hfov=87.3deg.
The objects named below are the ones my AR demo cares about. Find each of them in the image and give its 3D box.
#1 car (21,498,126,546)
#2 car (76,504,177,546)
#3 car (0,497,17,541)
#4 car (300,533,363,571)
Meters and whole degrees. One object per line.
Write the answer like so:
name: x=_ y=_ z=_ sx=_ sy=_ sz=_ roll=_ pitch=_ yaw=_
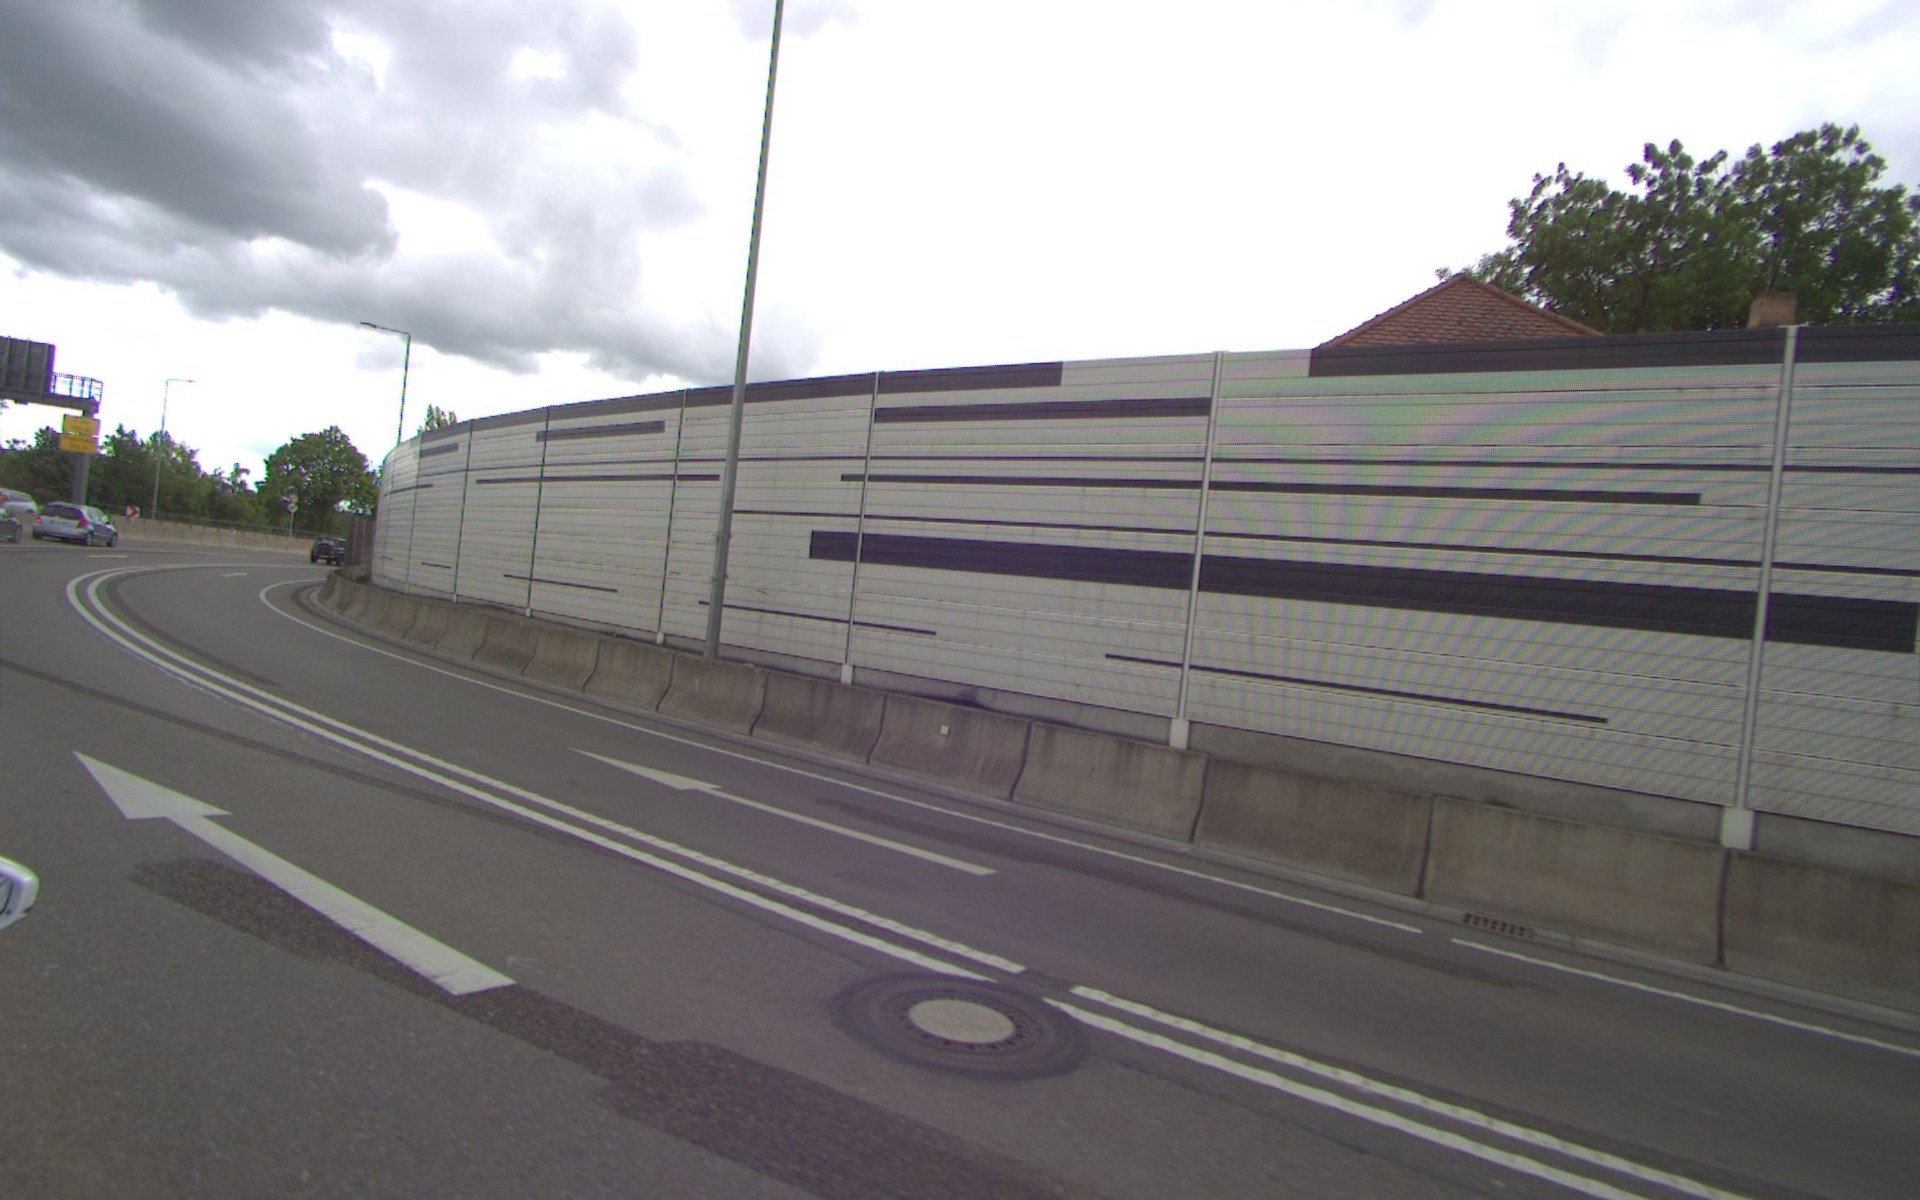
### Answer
car: x=-36.032 y=-3.125 z=41.012 sx=1.902 sy=1.506 sz=4.042 roll=8 pitch=-1 yaw=-24
car: x=-44.539 y=-3.983 z=53.933 sx=2.073 sy=1.569 sz=5.127 roll=9 pitch=-2 yaw=-16
car: x=-32.370 y=-2.763 z=32.544 sx=1.801 sy=1.452 sz=4.032 roll=6 pitch=0 yaw=-31
car: x=-39.074 y=-2.952 z=62.666 sx=1.968 sy=1.881 sz=3.991 roll=7 pitch=-1 yaw=-13
